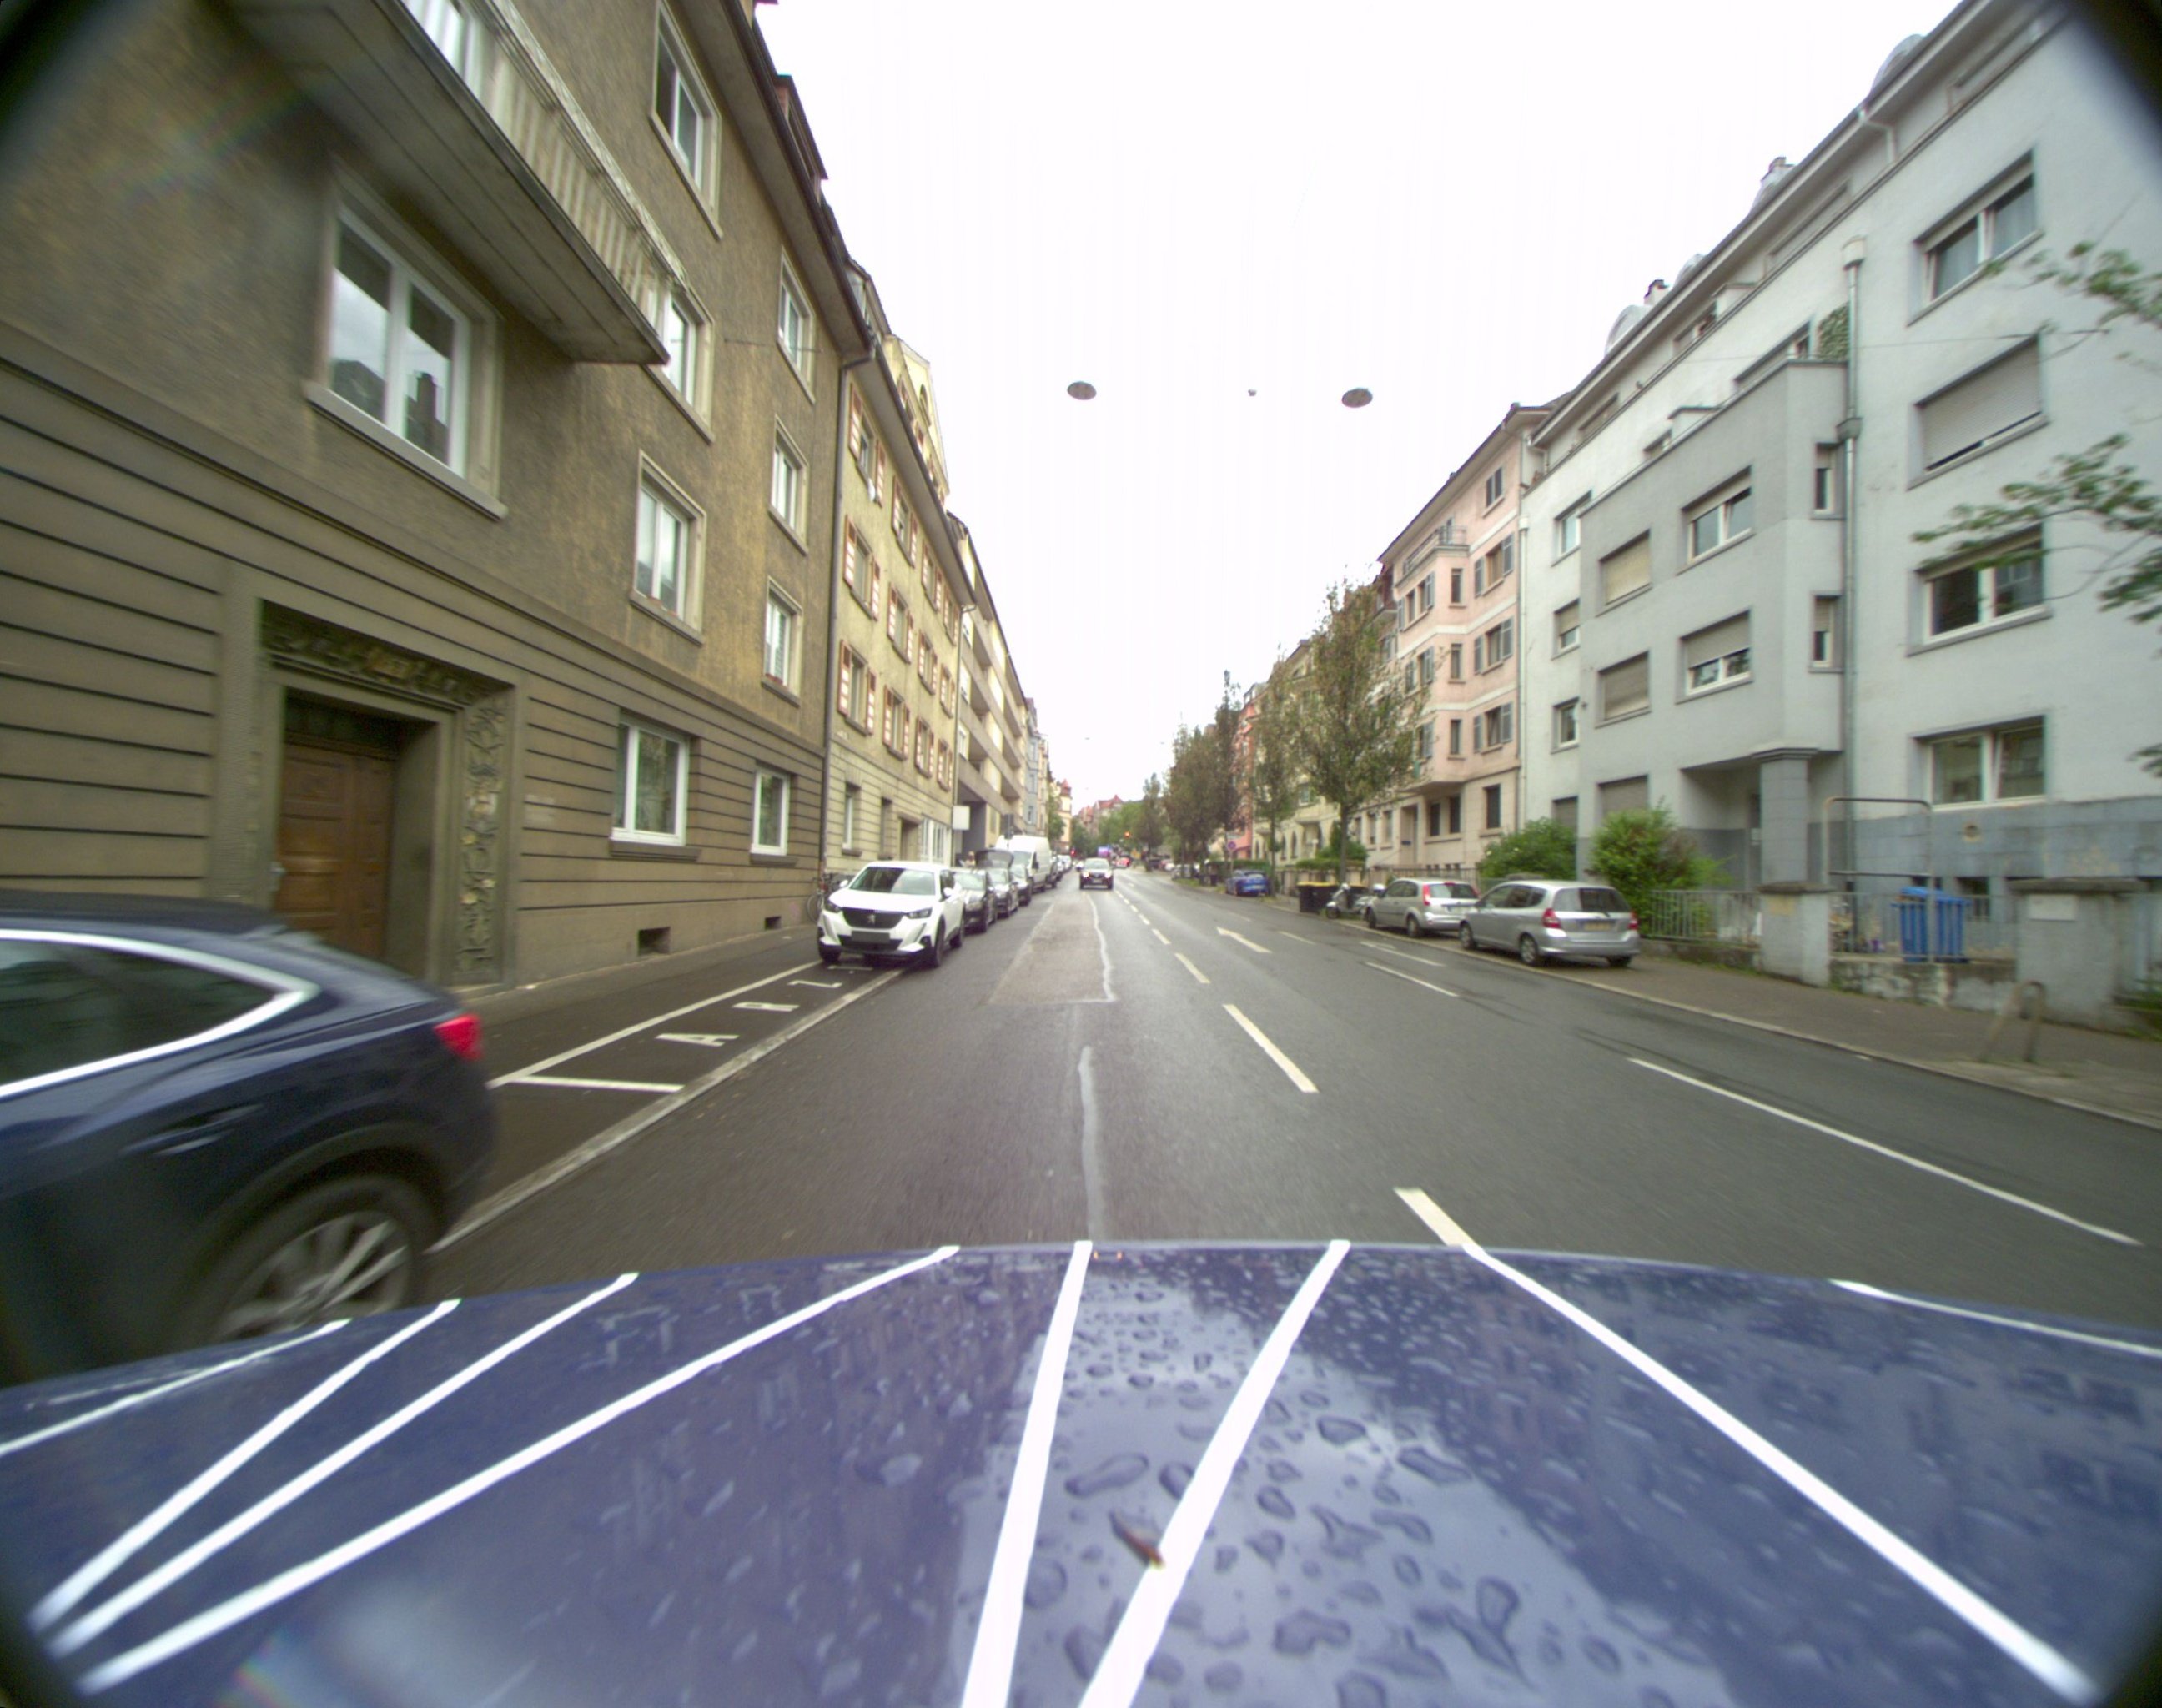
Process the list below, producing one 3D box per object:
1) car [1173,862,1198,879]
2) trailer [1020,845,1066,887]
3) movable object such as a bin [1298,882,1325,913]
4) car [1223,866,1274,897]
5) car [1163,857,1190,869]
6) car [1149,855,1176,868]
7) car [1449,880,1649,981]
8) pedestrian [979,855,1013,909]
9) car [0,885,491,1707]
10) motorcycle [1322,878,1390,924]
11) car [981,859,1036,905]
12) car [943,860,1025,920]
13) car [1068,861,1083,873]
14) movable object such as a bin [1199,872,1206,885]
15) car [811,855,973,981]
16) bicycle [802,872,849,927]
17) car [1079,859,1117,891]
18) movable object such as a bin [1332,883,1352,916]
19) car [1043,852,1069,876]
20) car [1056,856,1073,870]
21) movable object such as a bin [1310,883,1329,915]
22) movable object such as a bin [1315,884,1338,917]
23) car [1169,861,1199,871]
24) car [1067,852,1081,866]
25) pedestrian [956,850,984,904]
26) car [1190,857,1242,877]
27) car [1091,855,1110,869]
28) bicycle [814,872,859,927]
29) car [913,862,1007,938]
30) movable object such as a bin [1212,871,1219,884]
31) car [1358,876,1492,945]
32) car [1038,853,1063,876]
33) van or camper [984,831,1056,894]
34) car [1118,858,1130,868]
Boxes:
[{"bbox_3d":[9.453,1.499,69.084,1.685,1.409,4.137,2,0,1],"label":"car"},{"bbox_3d":[-2.107,0.687,43.481,1.998,2.139,5.074,3,-1,3],"label":"trailer"},{"bbox_3d":[8.173,1.551,26.948,0.827,1.052,0.483,-2,1,2],"label":"movable object such as a bin"},{"bbox_3d":[8.833,1.390,40.338,1.683,1.378,4.602,1,1,0],"label":"car"},{"bbox_3d":[14.497,1.330,115.802,3.928,1.613,1.592,2,1,1],"label":"car"},{"bbox_3d":[12.693,1.154,118.759,3.930,1.836,1.867,2,1,-2],"label":"car"},{"bbox_3d":[8.652,1.330,14.484,1.604,1.443,3.888,1,1,4],"label":"car"},{"bbox_3d":[-2.804,0.918,25.012,0.637,1.681,0.630,6,2,-43],"label":"pedestrian"},{"bbox_3d":[-2.987,0.904,0.507,1.795,1.539,4.226,3,0,1],"label":"car"},{"bbox_3d":[8.554,1.437,23.635,1.806,1.307,0.743,2,0,42],"label":"motorcycle"},{"bbox_3d":[-2.624,0.985,28.227,1.782,1.471,4.188,1,1,-3],"label":"car"},{"bbox_3d":[-2.757,0.980,22.567,1.782,1.471,4.587,1,1,0],"label":"car"},{"bbox_3d":[-0.664,1.593,94.747,1.709,1.388,3.933,-1,0,1],"label":"car"},{"bbox_3d":[8.487,1.679,52.936,0.365,0.884,0.572,-1,0,0],"label":"movable object such as a bin"},{"bbox_3d":[-2.919,0.889,12.636,1.636,1.629,4.194,4,0,-1],"label":"car"},{"bbox_3d":[-5.690,0.979,17.006,0.248,1.067,2.106,3,1,1],"label":"bicycle"},{"bbox_3d":[0.877,1.114,41.572,1.890,1.543,3.999,-2,1,-1],"label":"car"},{"bbox_3d":[8.877,1.545,25.850,0.472,1.052,0.483,-2,1,-9],"label":"movable object such as a bin"},{"bbox_3d":[-2.183,0.865,67.609,1.994,1.944,4.822,2,0,0],"label":"car"},{"bbox_3d":[-1.856,1.003,87.352,1.709,1.434,3.933,2,0,1],"label":"car"},{"bbox_3d":[8.271,1.556,26.360,0.472,1.052,0.483,-2,1,-9],"label":"movable object such as a bin"},{"bbox_3d":[8.292,1.551,25.652,0.526,1.052,0.482,-2,1,-21],"label":"movable object such as a bin"},{"bbox_3d":[14.245,1.638,105.621,3.928,1.289,1.646,2,1,1],"label":"car"},{"bbox_3d":[-0.989,0.680,105.528,1.826,1.808,4.520,2,0,1],"label":"car"},{"bbox_3d":[-3.743,0.771,25.567,0.688,1.777,0.712,3,2,-21],"label":"pedestrian"},{"bbox_3d":[13.243,1.258,74.735,4.731,1.893,1.918,0,1,-1],"label":"car"},{"bbox_3d":[2.275,0.909,88.747,1.670,1.463,3.650,0,1,-7],"label":"car"},{"bbox_3d":[-5.441,0.992,17.030,0.248,1.067,2.106,3,1,1],"label":"bicycle"},{"bbox_3d":[-2.773,1.001,18.153,1.636,1.470,3.734,4,0,-1],"label":"car"},{"bbox_3d":[9.398,1.646,53.075,0.365,0.906,0.572,0,1,0],"label":"movable object such as a bin"},{"bbox_3d":[8.600,1.355,19.366,1.605,1.388,3.886,1,1,0],"label":"car"},{"bbox_3d":[-2.377,0.806,59.696,1.751,1.630,4.273,2,0,0],"label":"car"},{"bbox_3d":[-2.792,0.381,36.577,2.188,2.683,6.423,2,0,7],"label":"van or camper"},{"bbox_3d":[7.266,1.486,128.817,1.772,1.540,3.652,0,1,0],"label":"car"}]
